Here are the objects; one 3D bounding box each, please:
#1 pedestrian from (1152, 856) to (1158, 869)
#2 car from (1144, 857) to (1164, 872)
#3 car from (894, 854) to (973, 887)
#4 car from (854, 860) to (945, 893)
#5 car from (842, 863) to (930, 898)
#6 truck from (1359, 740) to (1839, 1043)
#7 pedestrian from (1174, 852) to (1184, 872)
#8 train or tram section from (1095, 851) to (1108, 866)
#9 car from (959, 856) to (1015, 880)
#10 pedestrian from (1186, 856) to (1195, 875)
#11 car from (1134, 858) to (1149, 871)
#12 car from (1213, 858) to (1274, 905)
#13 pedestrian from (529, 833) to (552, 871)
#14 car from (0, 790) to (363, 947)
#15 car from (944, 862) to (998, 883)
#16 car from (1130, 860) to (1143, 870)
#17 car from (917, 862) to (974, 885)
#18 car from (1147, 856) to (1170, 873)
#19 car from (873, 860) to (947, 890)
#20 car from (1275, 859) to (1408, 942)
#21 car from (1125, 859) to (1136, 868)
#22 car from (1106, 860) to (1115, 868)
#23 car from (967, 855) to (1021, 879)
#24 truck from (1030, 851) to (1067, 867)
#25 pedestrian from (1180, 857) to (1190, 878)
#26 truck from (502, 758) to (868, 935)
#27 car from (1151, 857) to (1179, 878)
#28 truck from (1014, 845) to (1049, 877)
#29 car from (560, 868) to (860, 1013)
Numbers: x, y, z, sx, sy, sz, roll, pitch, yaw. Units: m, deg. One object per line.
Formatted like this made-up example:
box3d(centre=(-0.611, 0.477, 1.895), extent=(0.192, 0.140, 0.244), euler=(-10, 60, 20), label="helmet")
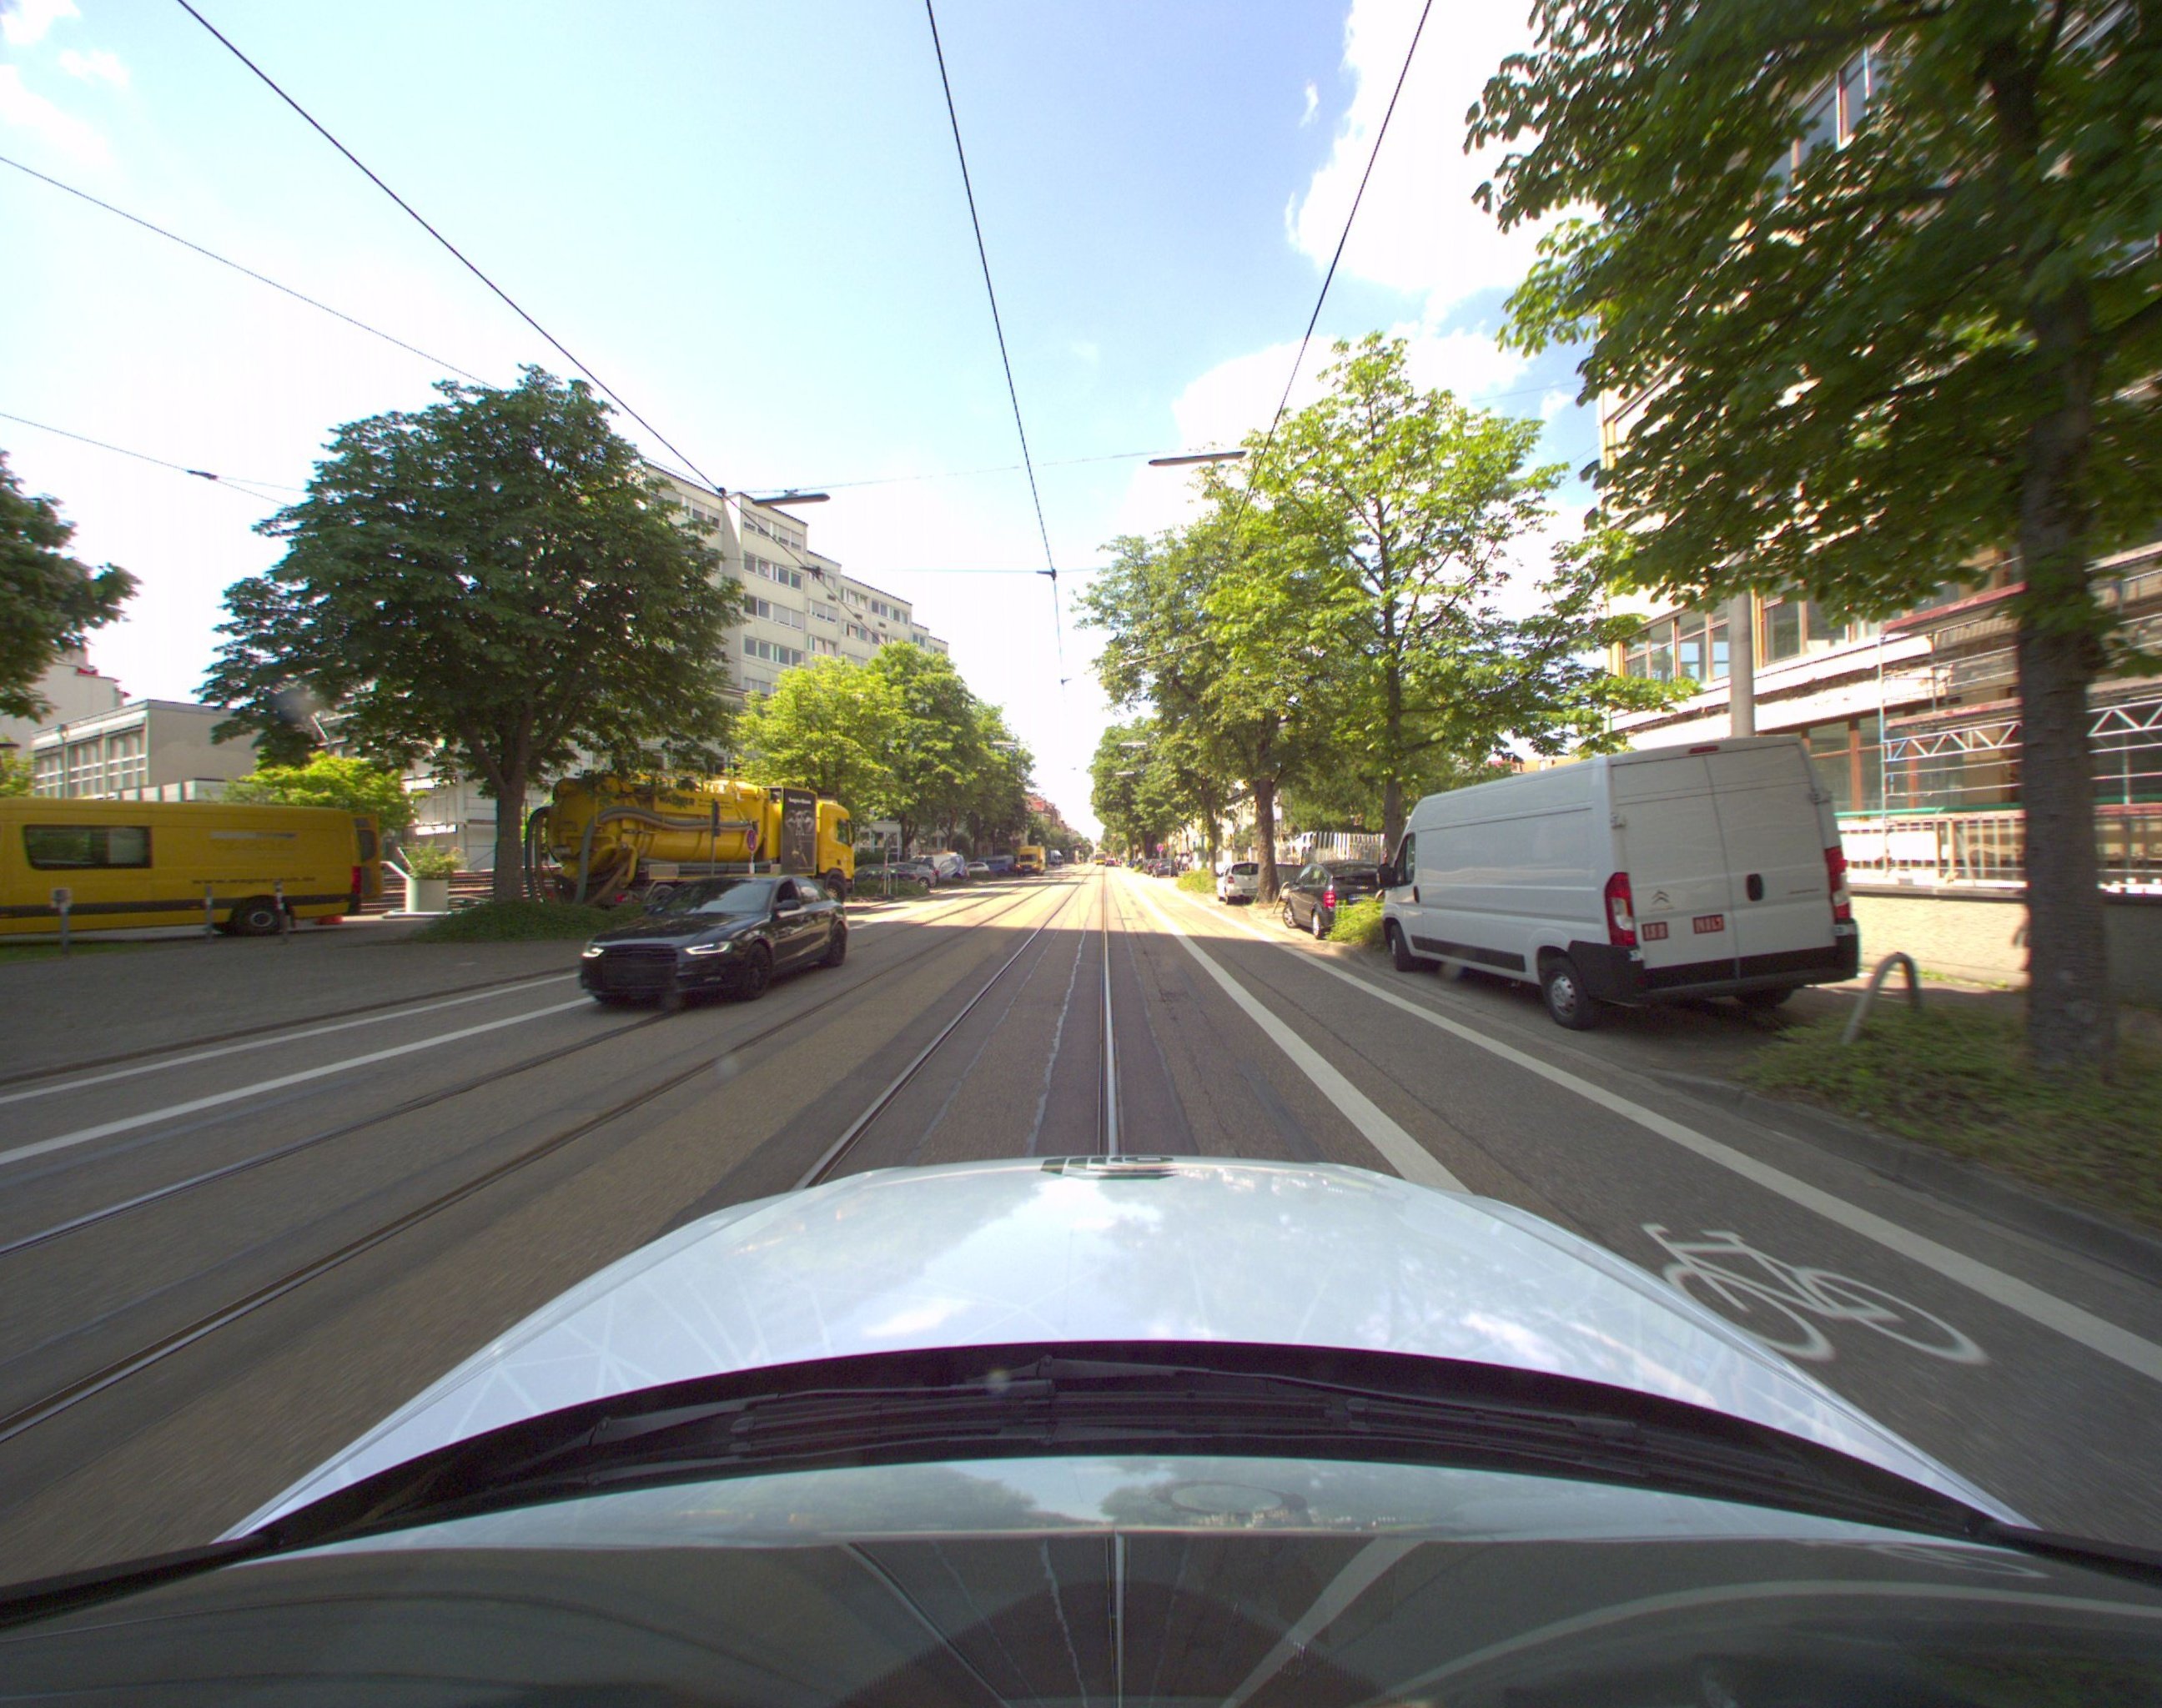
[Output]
box3d(centre=(10.776, 1.173, 118.553), extent=(0.806, 1.860, 0.623), euler=(-1, -2, -1), label="pedestrian")
box3d(centre=(7.297, 1.085, 81.996), extent=(1.705, 1.423, 4.244), euler=(-2, -1, 1), label="car")
box3d(centre=(-9.473, 1.054, 52.659), extent=(1.897, 1.935, 4.785), euler=(-3, -1, 44), label="car")
box3d(centre=(-9.502, 1.158, 42.753), extent=(4.225, 1.507, 1.852), euler=(-2, -1, -40), label="car")
box3d(centre=(-9.391, 1.250, 39.373), extent=(1.740, 1.507, 3.731), euler=(-3, -1, 44), label="car")
box3d(centre=(5.318, 0.314, 9.741), extent=(2.007, 2.489, 5.956), euler=(-1, 0, 1), label="truck")
box3d(centre=(9.325, 0.762, 77.537), extent=(0.803, 1.860, 0.578), euler=(-2, -1, 13), label="pedestrian")
box3d(centre=(5.003, 1.021, 198.519), extent=(3.023, 3.438, 11.976), euler=(-1, 0, 2), label="train or tram section")
box3d(centre=(-8.370, 1.219, 72.516), extent=(4.759, 1.955, 1.824), euler=(-2, -1, -44), label="car")
box3d(centre=(10.379, 1.112, 77.407), extent=(0.612, 1.737, 0.481), euler=(-3, -1, 29), label="pedestrian")
box3d(centre=(7.742, 1.309, 104.202), extent=(1.586, 1.617, 3.908), euler=(-1, -1, 1), label="car")
box3d(centre=(5.818, 0.944, 29.549), extent=(1.637, 1.534, 3.788), euler=(-1, 0, 3), label="car")
box3d(centre=(-22.342, -0.080, 33.646), extent=(0.472, 1.555, 0.624), euler=(-3, -1, 29), label="pedestrian")
box3d(centre=(-17.948, 0.279, 14.947), extent=(2.157, 2.566, 6.765), euler=(-1, -2, 31), label="car")
box3d(centre=(-8.889, 1.489, 66.035), extent=(1.740, 1.433, 4.024), euler=(-5, -1, 43), label="car")
box3d(centre=(8.392, 1.614, 123.430), extent=(1.705, 1.423, 4.310), euler=(-2, -1, 1), label="car")
box3d(centre=(-9.728, 1.372, 58.566), extent=(3.731, 1.467, 1.741), euler=(-2, -1, -44), label="car")
box3d(centre=(7.168, 0.973, 75.601), extent=(1.869, 1.455, 4.529), euler=(-2, -1, 2), label="car")
box3d(centre=(-9.615, 1.180, 45.903), extent=(3.731, 1.544, 1.671), euler=(-2, -1, -44), label="car")
box3d(centre=(5.420, 0.893, 17.448), extent=(1.638, 1.534, 3.947), euler=(-1, 0, 1), label="car")
box3d(centre=(8.584, 1.635, 141.674), extent=(1.705, 1.423, 4.310), euler=(-2, -1, 1), label="car")
box3d(centre=(5.409, 1.847, 149.566), extent=(1.774, 1.346, 3.417), euler=(-1, 0, 2), label="car")
box3d(centre=(-8.411, 1.242, 78.786), extent=(4.785, 2.062, 2.003), euler=(-2, 0, -38), label="car")
box3d(centre=(-7.568, 1.180, 189.012), extent=(8.342, 3.550, 2.968), euler=(-1, 0, 35), label="truck")
box3d(centre=(9.700, 1.256, 76.160), extent=(0.717, 1.860, 0.580), euler=(-2, -1, 26), label="pedestrian")
box3d(centre=(-10.194, -0.091, 23.275), extent=(2.695, 3.842, 11.008), euler=(0, -1, 16), label="truck")
box3d(centre=(6.468, 1.056, 63.060), extent=(1.634, 1.485, 3.870), euler=(-1, -1, -2), label="car")
box3d(centre=(-4.646, 0.651, 77.565), extent=(2.351, 2.852, 7.384), euler=(-2, 0, 3), label="truck")
box3d(centre=(-4.413, 0.934, 10.534), extent=(1.767, 1.397, 4.289), euler=(-1, 0, 2), label="car")
